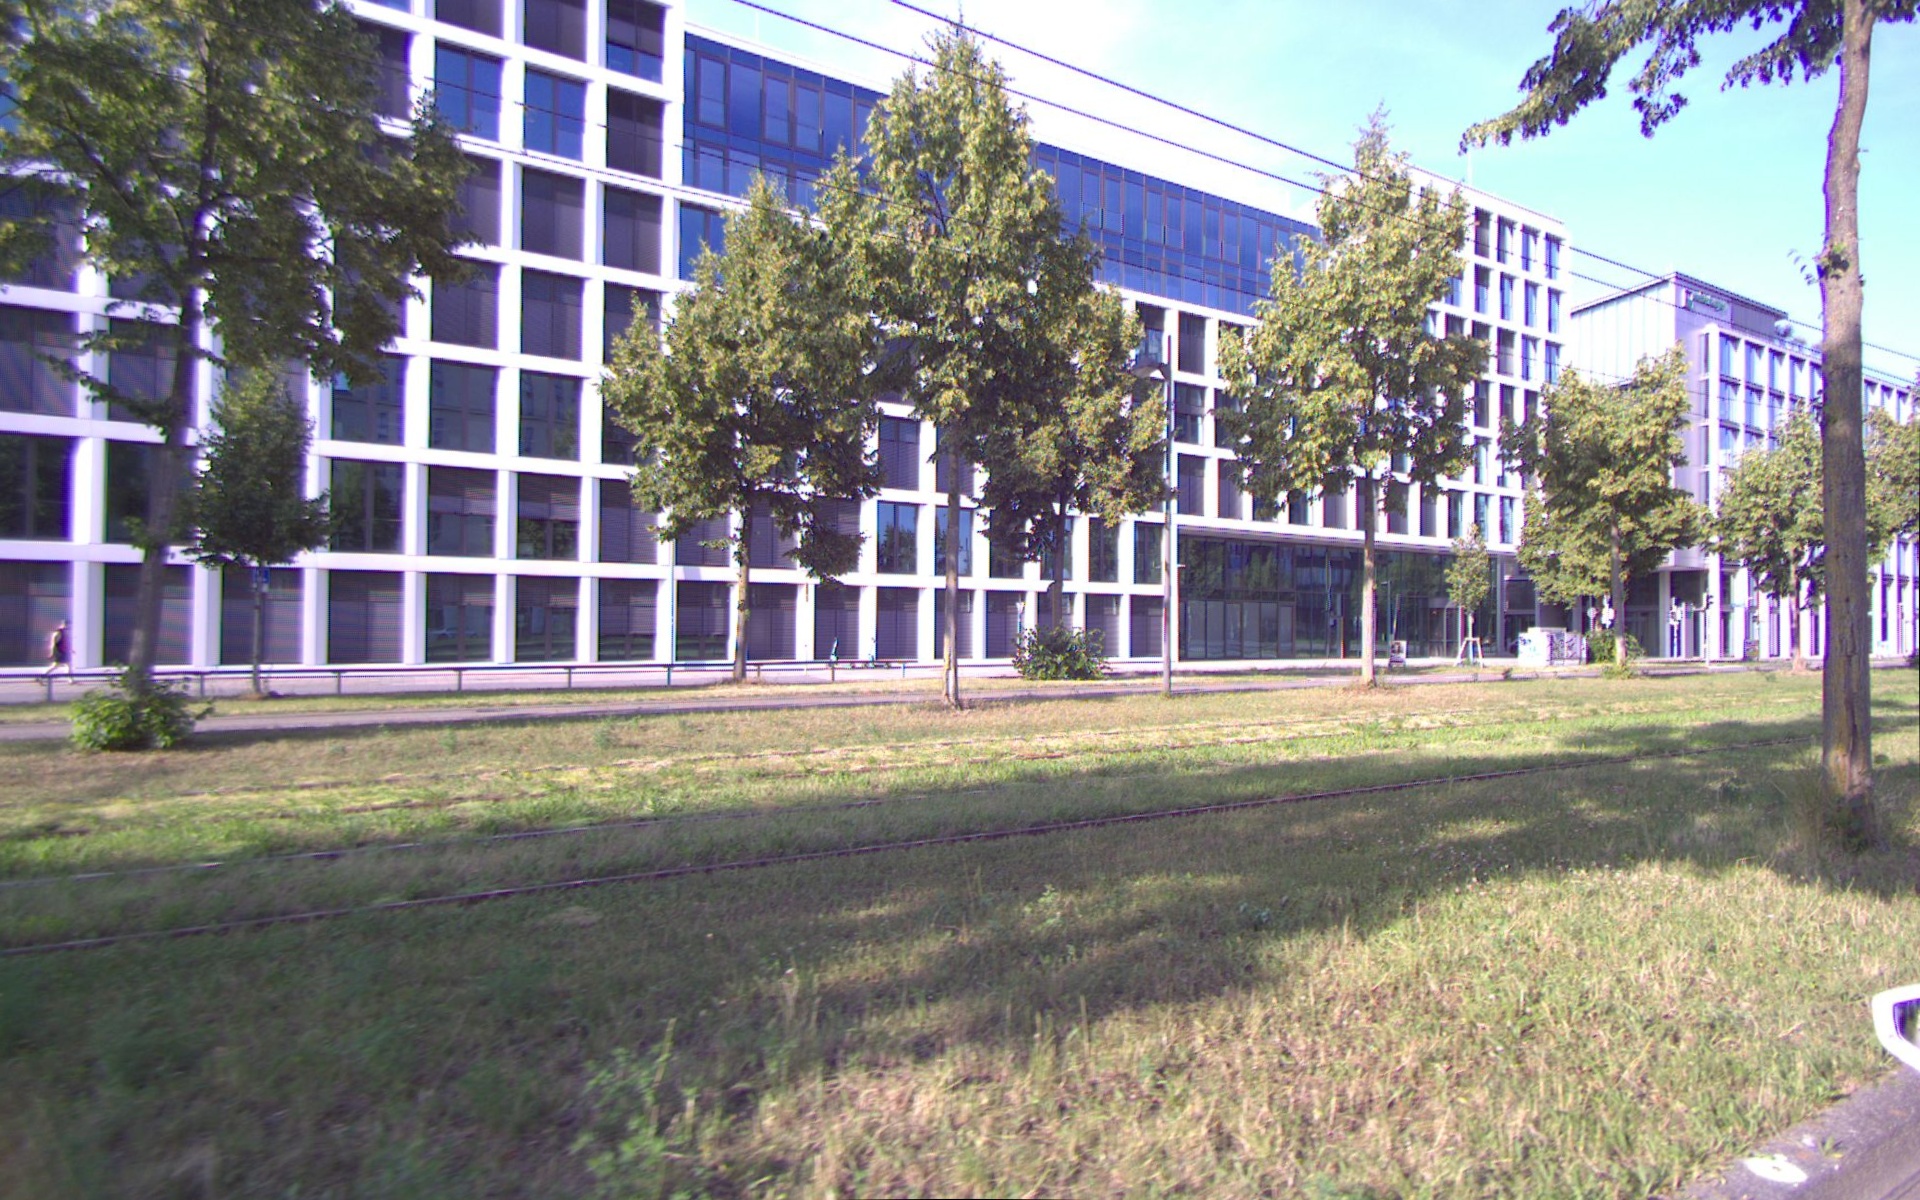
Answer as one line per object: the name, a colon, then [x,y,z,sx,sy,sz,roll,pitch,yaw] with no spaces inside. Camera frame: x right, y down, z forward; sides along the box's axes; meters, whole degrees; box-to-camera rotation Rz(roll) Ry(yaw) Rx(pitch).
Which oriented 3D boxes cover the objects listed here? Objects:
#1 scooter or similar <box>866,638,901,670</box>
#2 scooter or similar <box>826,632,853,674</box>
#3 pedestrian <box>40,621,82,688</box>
scooter or similar: [-3.010,2.134,39.536,1.278,1.242,0.335,2,0,-17]
scooter or similar: [-4.617,2.002,38.436,0.409,1.496,1.922,2,0,-25]
pedestrian: [-24.065,1.454,26.894,0.683,1.751,0.565,2,0,-30]
